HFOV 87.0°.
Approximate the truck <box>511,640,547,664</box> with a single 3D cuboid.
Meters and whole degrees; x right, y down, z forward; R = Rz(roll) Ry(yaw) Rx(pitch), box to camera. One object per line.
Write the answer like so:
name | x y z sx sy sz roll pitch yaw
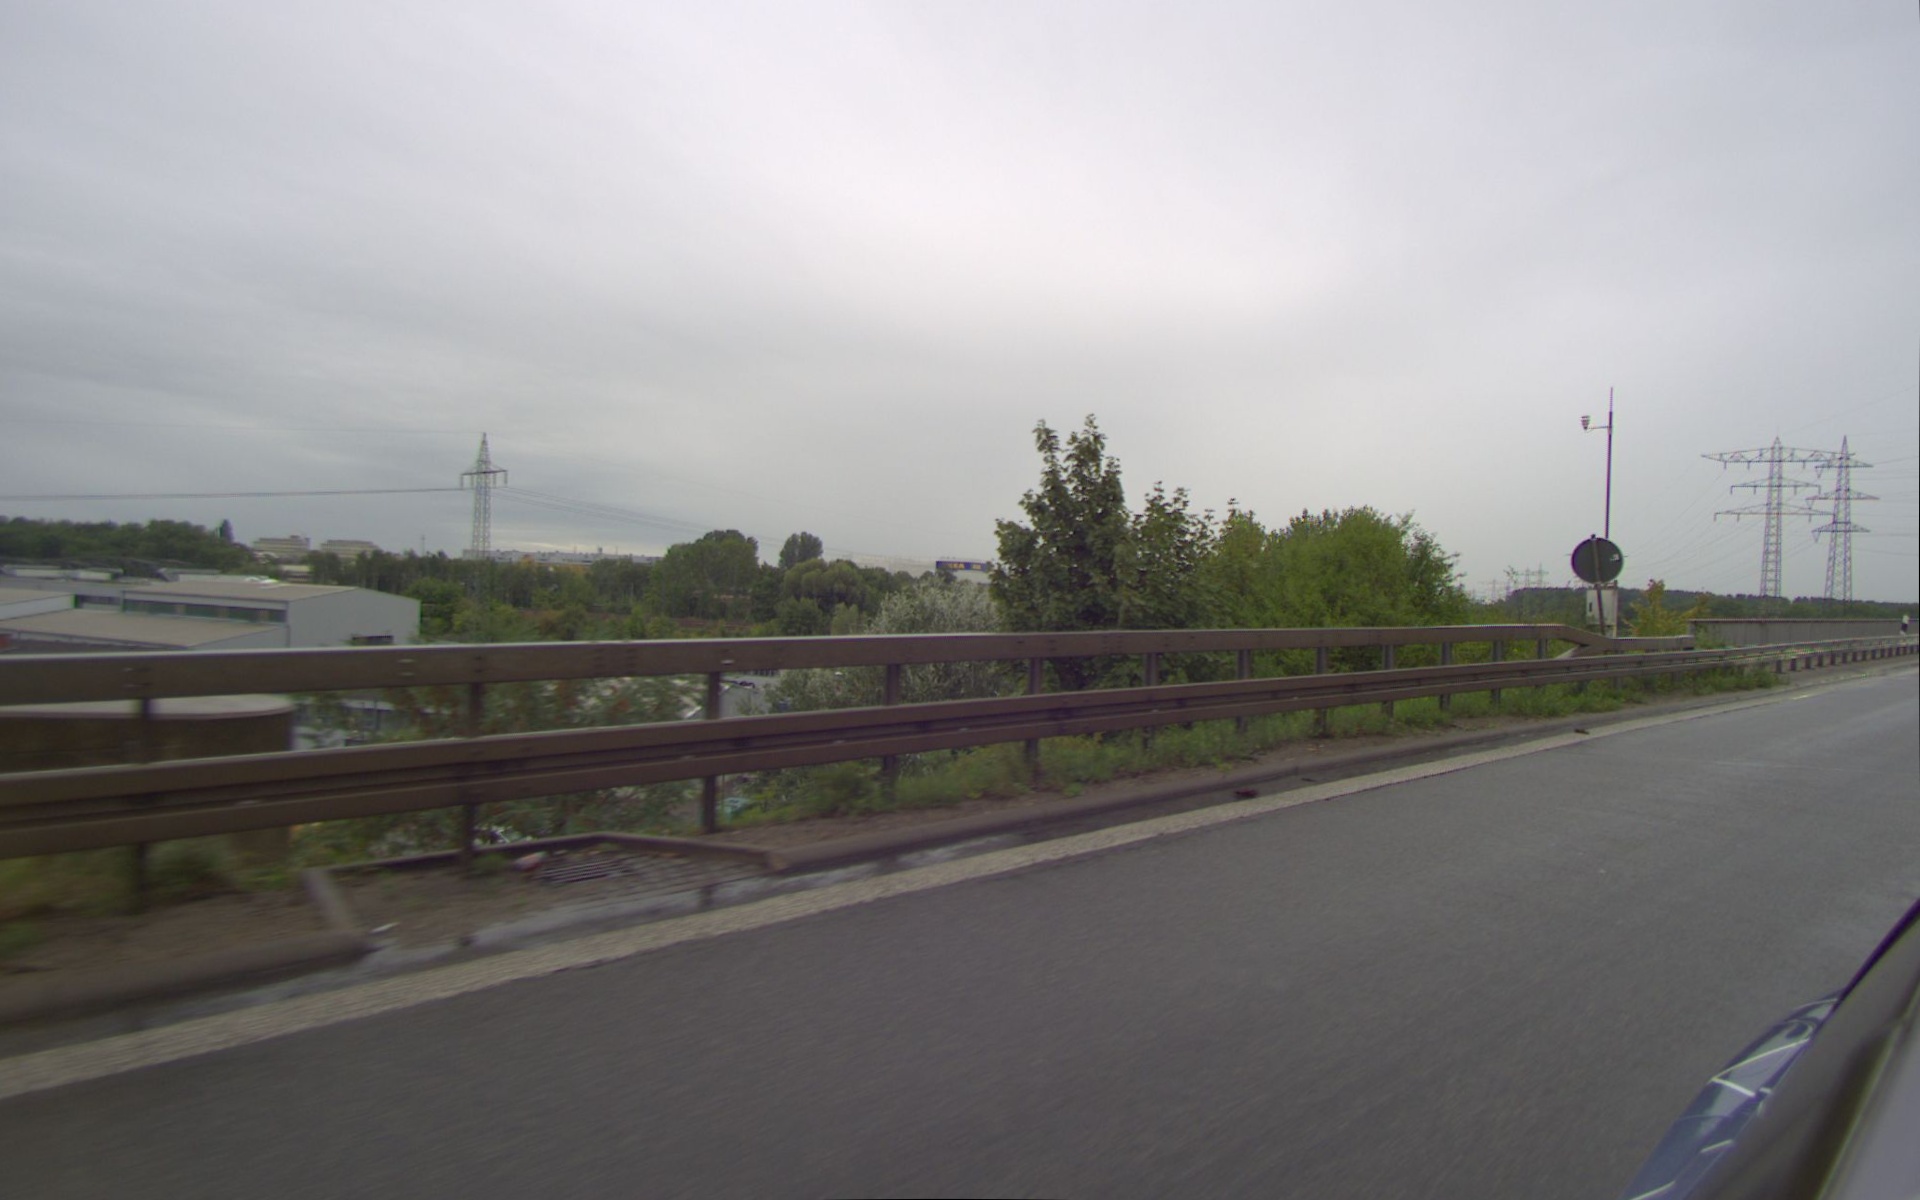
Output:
truck | -63.598 7.646 149.537 2.067 3.225 6.580 0 0 4
